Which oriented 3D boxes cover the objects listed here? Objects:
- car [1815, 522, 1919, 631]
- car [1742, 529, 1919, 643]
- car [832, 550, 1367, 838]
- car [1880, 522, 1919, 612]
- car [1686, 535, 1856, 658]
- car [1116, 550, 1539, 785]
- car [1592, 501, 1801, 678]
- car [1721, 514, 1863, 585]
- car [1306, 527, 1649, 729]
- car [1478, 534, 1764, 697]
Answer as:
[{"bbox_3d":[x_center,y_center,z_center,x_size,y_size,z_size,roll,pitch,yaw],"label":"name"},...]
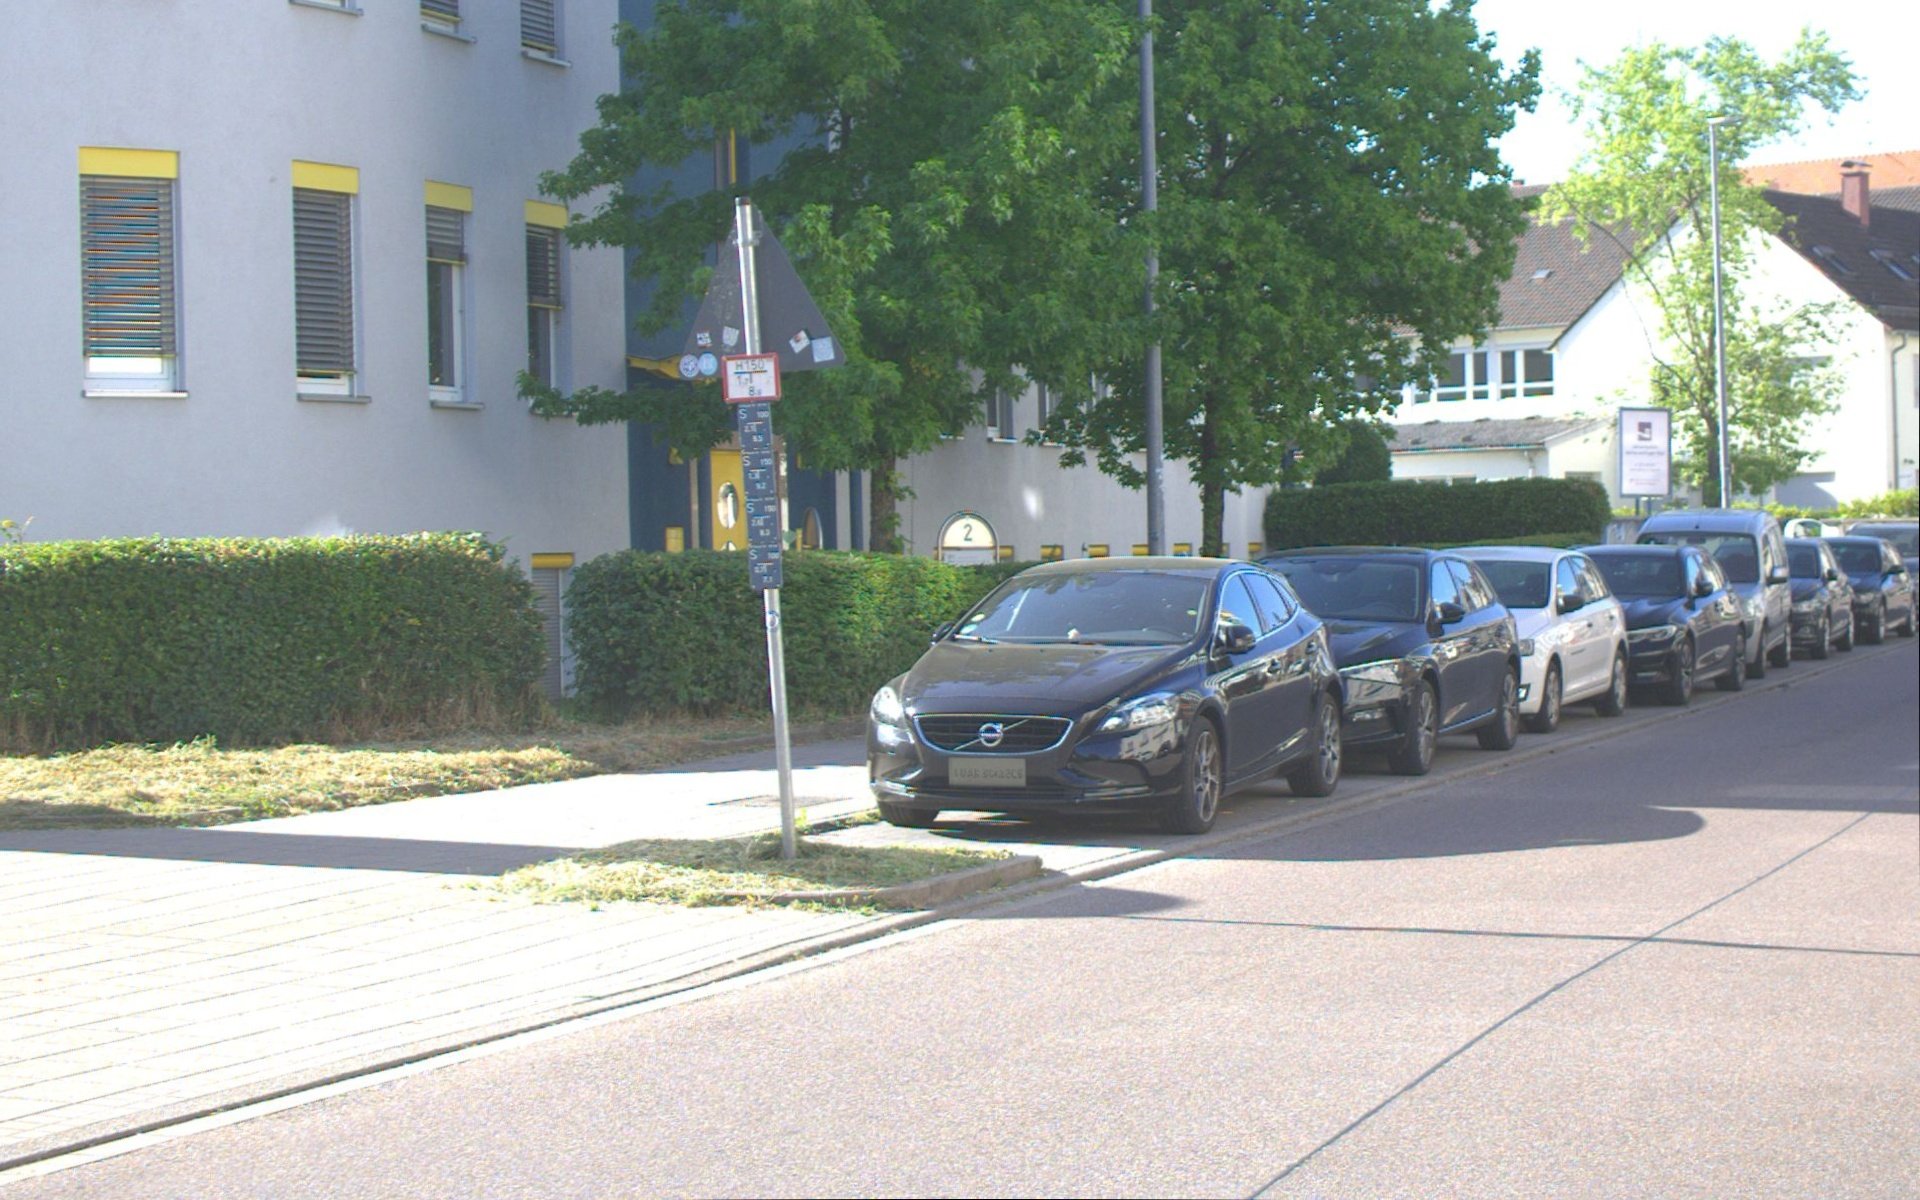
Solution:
[{"bbox_3d":[14.328,-0.396,52.634,1.722,1.581,4.416,0,1,23],"label":"car"},{"bbox_3d":[12.033,-0.222,47.236,1.728,1.460,4.434,0,1,23],"label":"car"},{"bbox_3d":[0.915,0.438,19.339,1.791,1.405,4.219,0,1,20],"label":"car"},{"bbox_3d":[17.850,-0.637,61.827,1.996,1.529,4.913,0,1,21],"label":"car"},{"bbox_3d":[10.001,-0.077,42.212,1.599,1.435,3.996,0,1,20],"label":"car"},{"bbox_3d":[2.658,0.406,23.875,1.910,1.474,4.376,0,0,20],"label":"car"},{"bbox_3d":[8.154,-0.160,37.808,1.689,1.832,4.337,0,1,20],"label":"car"},{"bbox_3d":[19.460,-1.169,80.389,3.180,1.550,1.805,1,-2,-44],"label":"car"},{"bbox_3d":[4.377,0.196,28.458,1.910,1.525,4.620,0,0,20],"label":"car"},{"bbox_3d":[6.419,0.103,32.990,1.734,1.434,4.606,-1,1,23],"label":"car"}]
